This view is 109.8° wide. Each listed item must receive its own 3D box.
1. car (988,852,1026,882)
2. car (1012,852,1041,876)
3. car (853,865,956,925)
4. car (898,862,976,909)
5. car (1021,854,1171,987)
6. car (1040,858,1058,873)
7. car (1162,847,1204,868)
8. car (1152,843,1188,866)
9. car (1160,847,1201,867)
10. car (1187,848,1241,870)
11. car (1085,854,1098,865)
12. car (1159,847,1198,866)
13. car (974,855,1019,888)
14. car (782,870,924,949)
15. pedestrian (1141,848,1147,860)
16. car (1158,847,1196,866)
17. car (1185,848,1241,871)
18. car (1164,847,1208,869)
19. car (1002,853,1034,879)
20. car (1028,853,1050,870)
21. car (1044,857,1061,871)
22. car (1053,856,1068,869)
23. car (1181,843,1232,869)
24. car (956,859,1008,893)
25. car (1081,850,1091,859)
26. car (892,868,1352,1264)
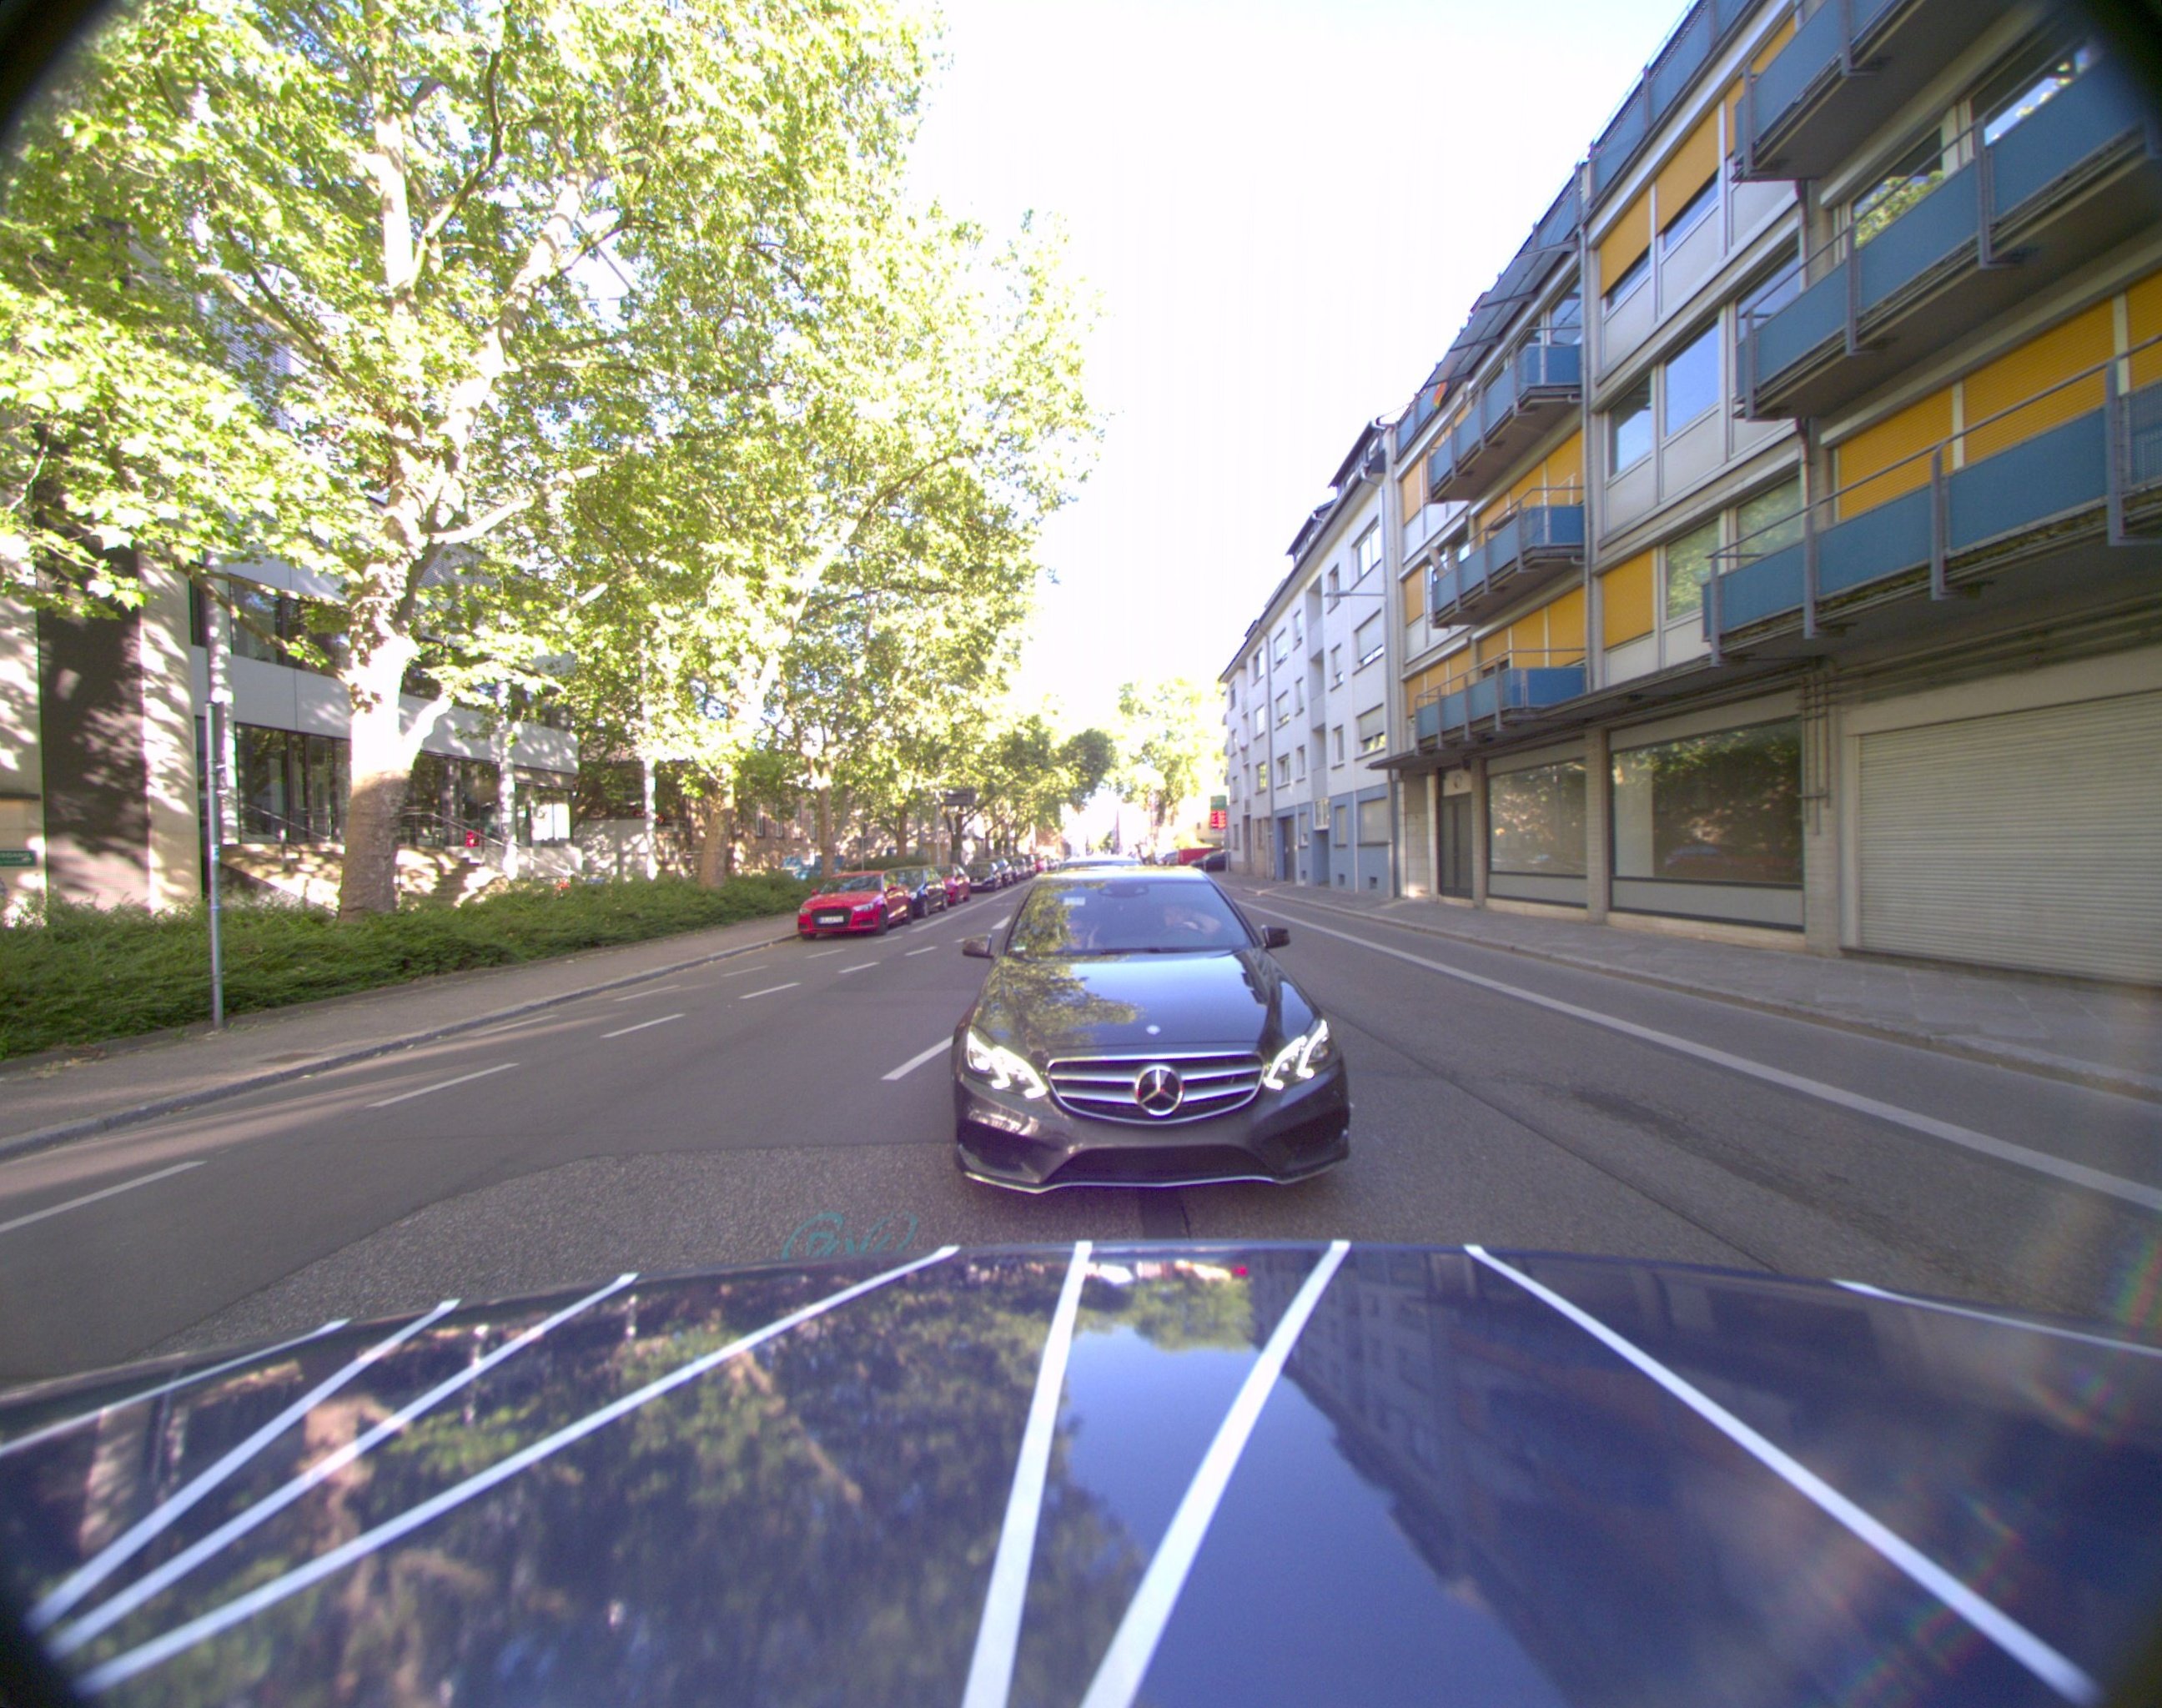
[{"bbox_3d":[-4.636,0.783,48.130,1.866,1.749,4.481,-2,0,1],"label":"car"},{"bbox_3d":[-4.249,0.755,59.752,1.866,1.749,4.481,-2,0,1],"label":"car"},{"bbox_3d":[-5.047,1.123,22.378,1.866,1.442,4.481,-2,0,1],"label":"car"},{"bbox_3d":[-5.091,1.064,27.422,1.866,1.442,4.481,-2,0,1],"label":"car"},{"bbox_3d":[0.221,0.857,11.927,1.866,1.630,4.303,-2,0,1],"label":"car"},{"bbox_3d":[-3.769,1.321,89.981,1.866,1.632,4.481,-2,0,1],"label":"car"},{"bbox_3d":[10.328,0.346,77.143,3.996,1.936,2.000,-2,1,2],"label":"car"},{"bbox_3d":[10.486,0.005,89.504,3.996,2.505,2.000,-2,1,2],"label":"car"},{"bbox_3d":[10.457,0.309,79.994,3.996,1.936,2.000,-2,1,2],"label":"car"},{"bbox_3d":[10.712,0.378,61.190,3.996,1.543,2.000,-2,1,2],"label":"car"},{"bbox_3d":[1.616,0.815,116.525,1.866,1.632,4.481,-2,0,1],"label":"car"},{"bbox_3d":[10.586,0.277,82.482,3.996,1.936,2.000,-2,1,2],"label":"car"},{"bbox_3d":[-4.624,0.906,42.203,1.866,1.658,4.481,-2,0,1],"label":"car"},{"bbox_3d":[-5.107,1.176,17.727,1.866,1.442,4.481,-2,0,1],"label":"car"},{"bbox_3d":[10.461,0.003,126.131,0.733,2.002,1.048,-2,1,22],"label":"pedestrian"},{"bbox_3d":[10.732,0.243,84.976,3.996,1.936,2.000,-2,1,2],"label":"car"},{"bbox_3d":[10.171,0.425,58.867,3.996,1.543,2.000,-2,1,2],"label":"car"},{"bbox_3d":[10.244,0.379,74.502,3.996,1.936,2.000,-2,1,2],"label":"car"},{"bbox_3d":[-4.506,0.818,54.797,1.866,1.749,4.481,-2,0,1],"label":"car"},{"bbox_3d":[-4.202,0.704,76.275,1.866,1.632,4.481,-2,0,1],"label":"car"},{"bbox_3d":[-3.659,1.237,96.780,1.866,1.632,4.481,-2,0,1],"label":"car"},{"bbox_3d":[-2.827,1.112,105.187,1.866,1.632,4.481,-2,0,1],"label":"car"},{"bbox_3d":[10.545,0.156,64.021,3.996,1.936,2.000,-2,1,2],"label":"car"},{"bbox_3d":[-4.759,1.024,37.169,1.866,1.442,4.481,-2,0,1],"label":"car"},{"bbox_3d":[0.944,0.140,147.271,1.866,1.632,4.481,-2,0,1],"label":"car"},{"bbox_3d":[0.202,0.932,5.404,1.866,1.492,4.481,-2,0,1],"label":"car"}]
